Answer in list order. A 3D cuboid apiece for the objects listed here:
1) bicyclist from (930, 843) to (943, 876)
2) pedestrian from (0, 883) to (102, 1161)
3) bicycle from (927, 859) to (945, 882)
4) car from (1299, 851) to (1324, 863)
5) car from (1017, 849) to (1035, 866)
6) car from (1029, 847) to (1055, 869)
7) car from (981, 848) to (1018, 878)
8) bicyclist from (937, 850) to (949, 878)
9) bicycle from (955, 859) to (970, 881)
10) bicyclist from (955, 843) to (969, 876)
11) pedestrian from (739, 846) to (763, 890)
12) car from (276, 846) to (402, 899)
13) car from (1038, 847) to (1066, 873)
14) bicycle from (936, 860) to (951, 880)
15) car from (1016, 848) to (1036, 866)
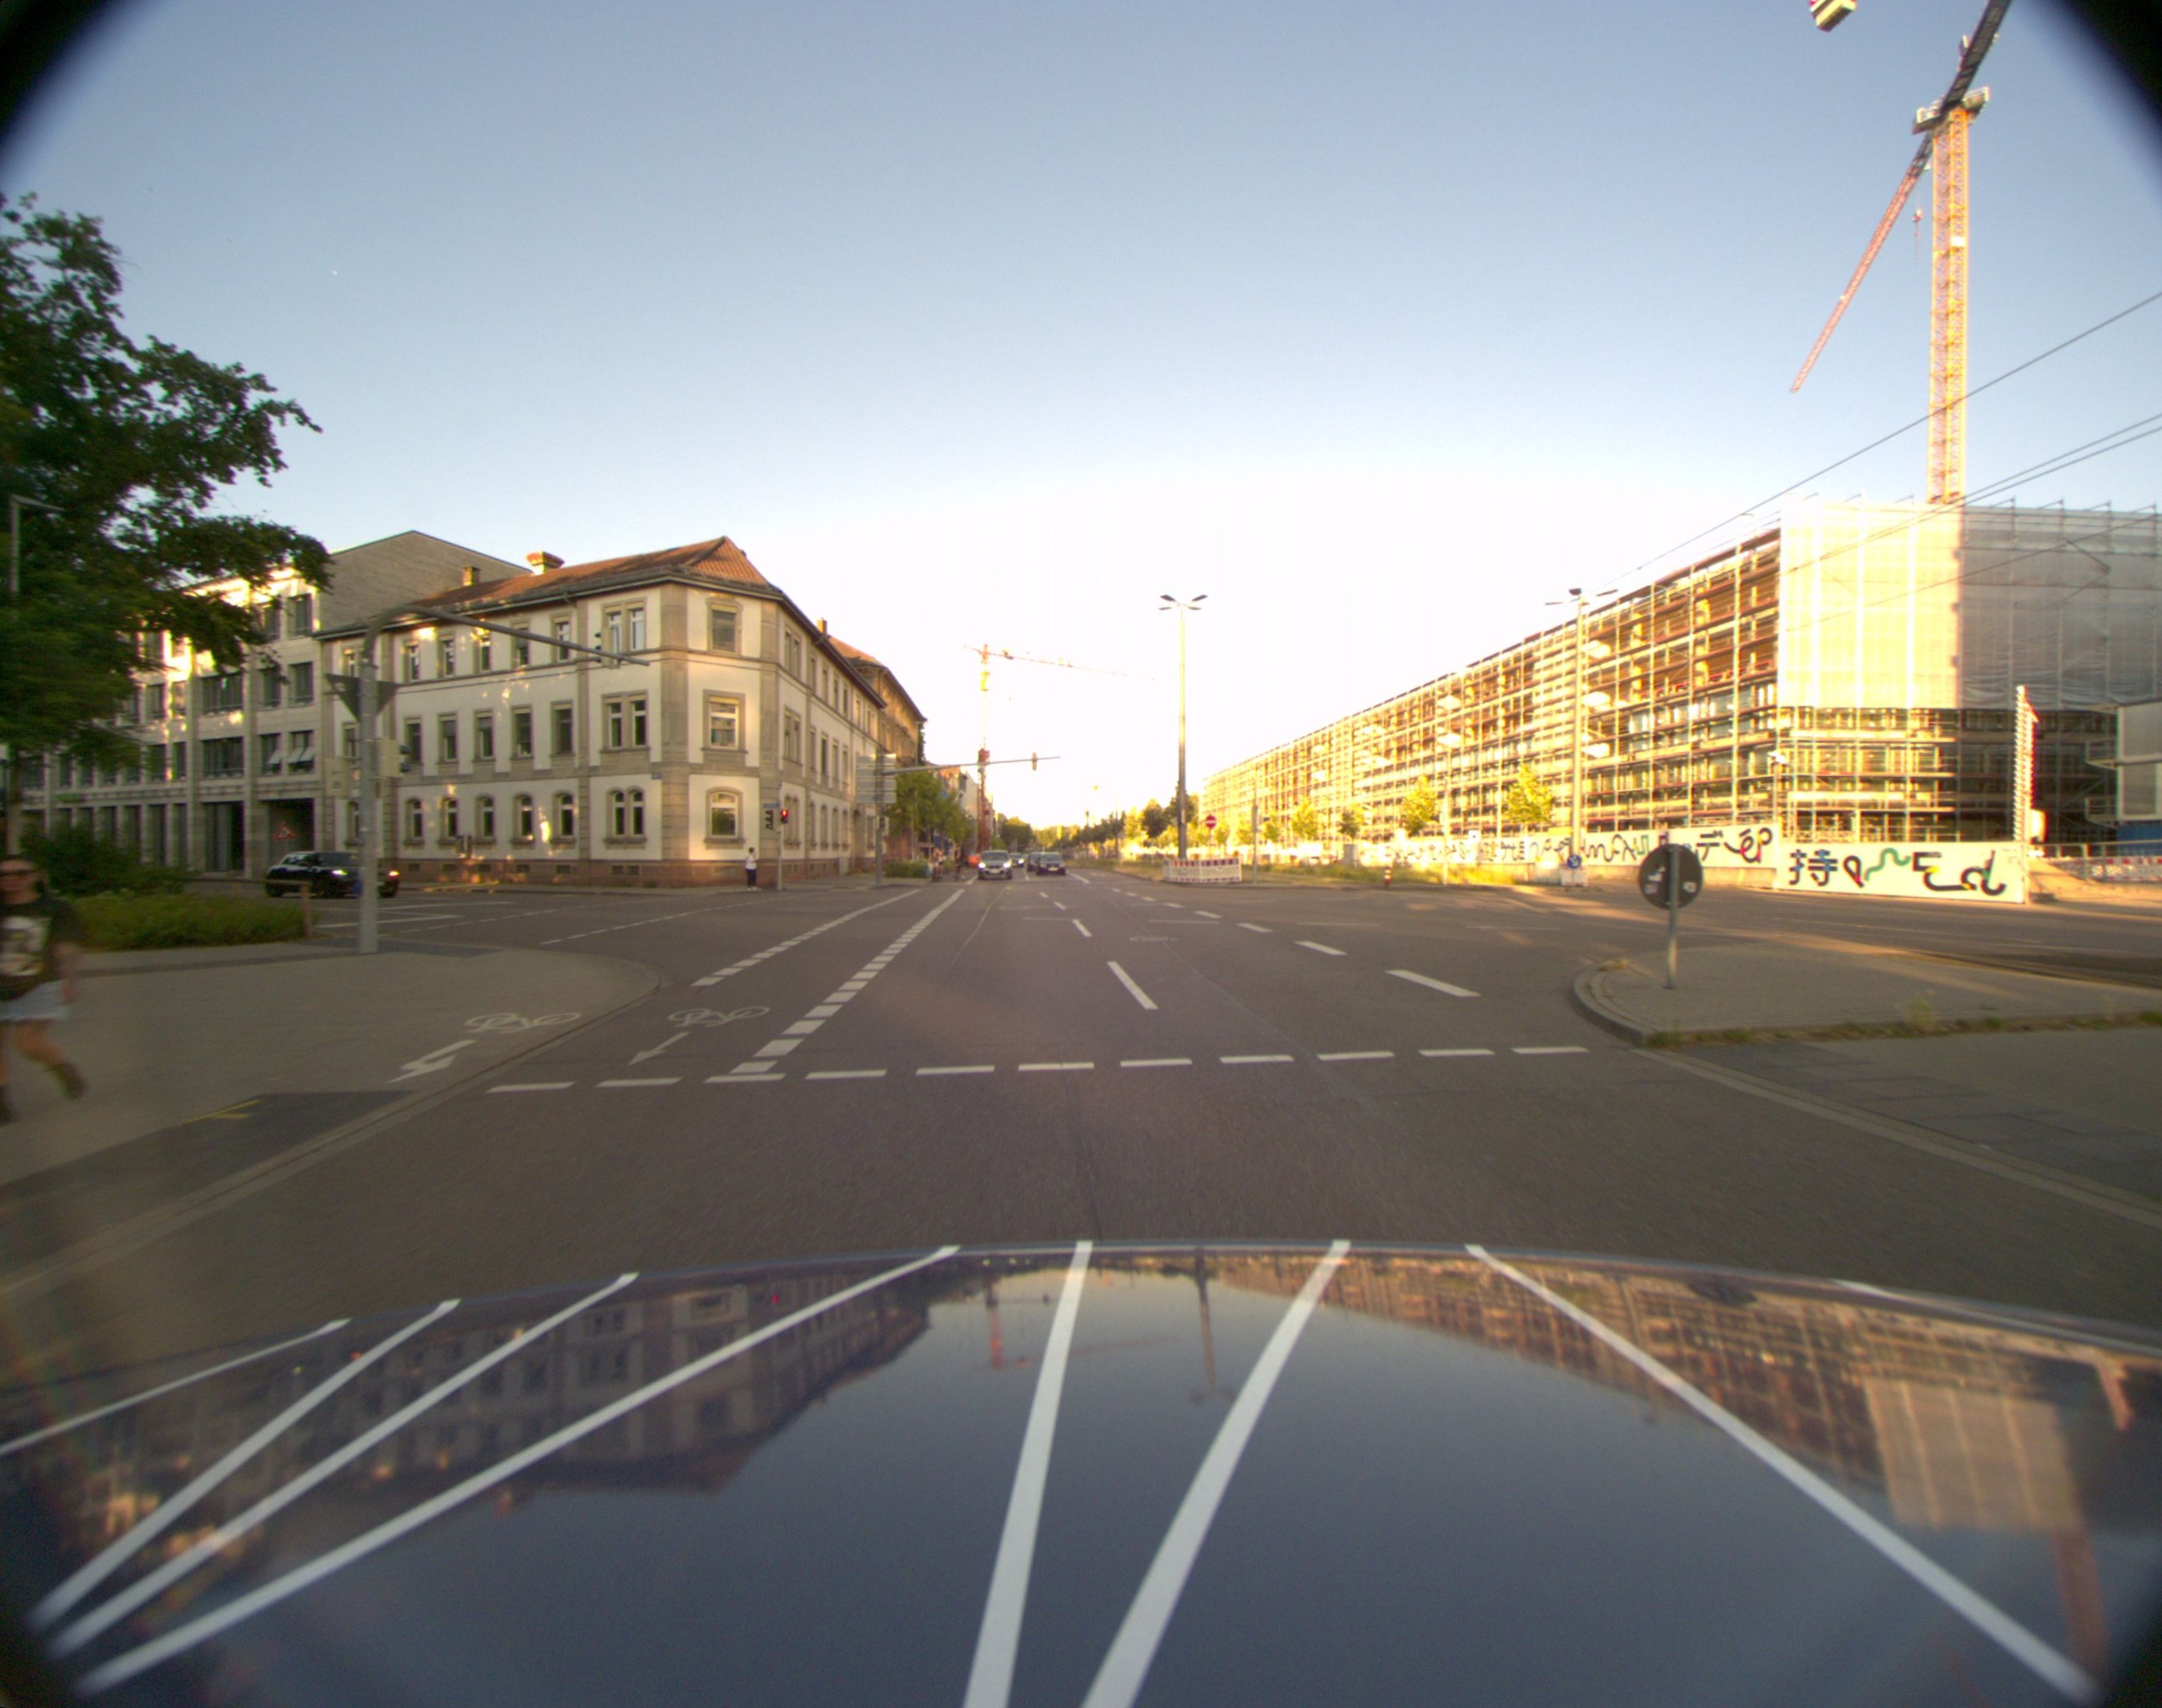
[{"bbox_3d":[-7.663,0.281,40.311,0.510,1.692,0.767,3,2,-1],"label":"bicyclist"},{"bbox_3d":[-6.201,0.929,4.276,0.580,1.495,0.619,2,1,2],"label":"pedestrian"},{"bbox_3d":[-7.684,0.863,40.353,0.528,1.045,2.047,3,2,-1],"label":"bicycle"},{"bbox_3d":[28.213,0.355,93.206,1.668,1.446,4.067,2,0,-2],"label":"car"},{"bbox_3d":[-5.453,0.319,75.216,1.703,1.588,3.888,-1,1,-3],"label":"car"},{"bbox_3d":[-3.019,0.303,58.864,1.862,1.588,4.258,-1,0,-3],"label":"car"},{"bbox_3d":[-4.550,0.490,42.937,1.834,1.588,4.258,-1,0,-3],"label":"car"},{"bbox_3d":[-7.673,0.565,42.360,0.512,1.539,0.692,1,1,-1],"label":"bicyclist"},{"bbox_3d":[-6.314,0.850,40.468,0.721,1.045,2.042,-2,1,-8],"label":"bicycle"},{"bbox_3d":[-6.349,0.281,40.537,0.706,1.692,0.767,-2,2,-9],"label":"bicyclist"},{"bbox_3d":[-12.647,0.533,29.148,0.820,1.647,0.635,0,1,-24],"label":"pedestrian"},{"bbox_3d":[-22.875,0.581,23.422,3.566,1.507,1.834,0,-2,30],"label":"car"},{"bbox_3d":[-1.901,0.335,49.433,1.703,1.588,4.258,-1,0,-3],"label":"car"},{"bbox_3d":[-7.685,0.874,42.549,0.517,1.045,2.043,1,1,-2],"label":"bicycle"},{"bbox_3d":[-5.470,0.285,75.452,1.880,1.652,3.760,-1,1,-3],"label":"car"}]
